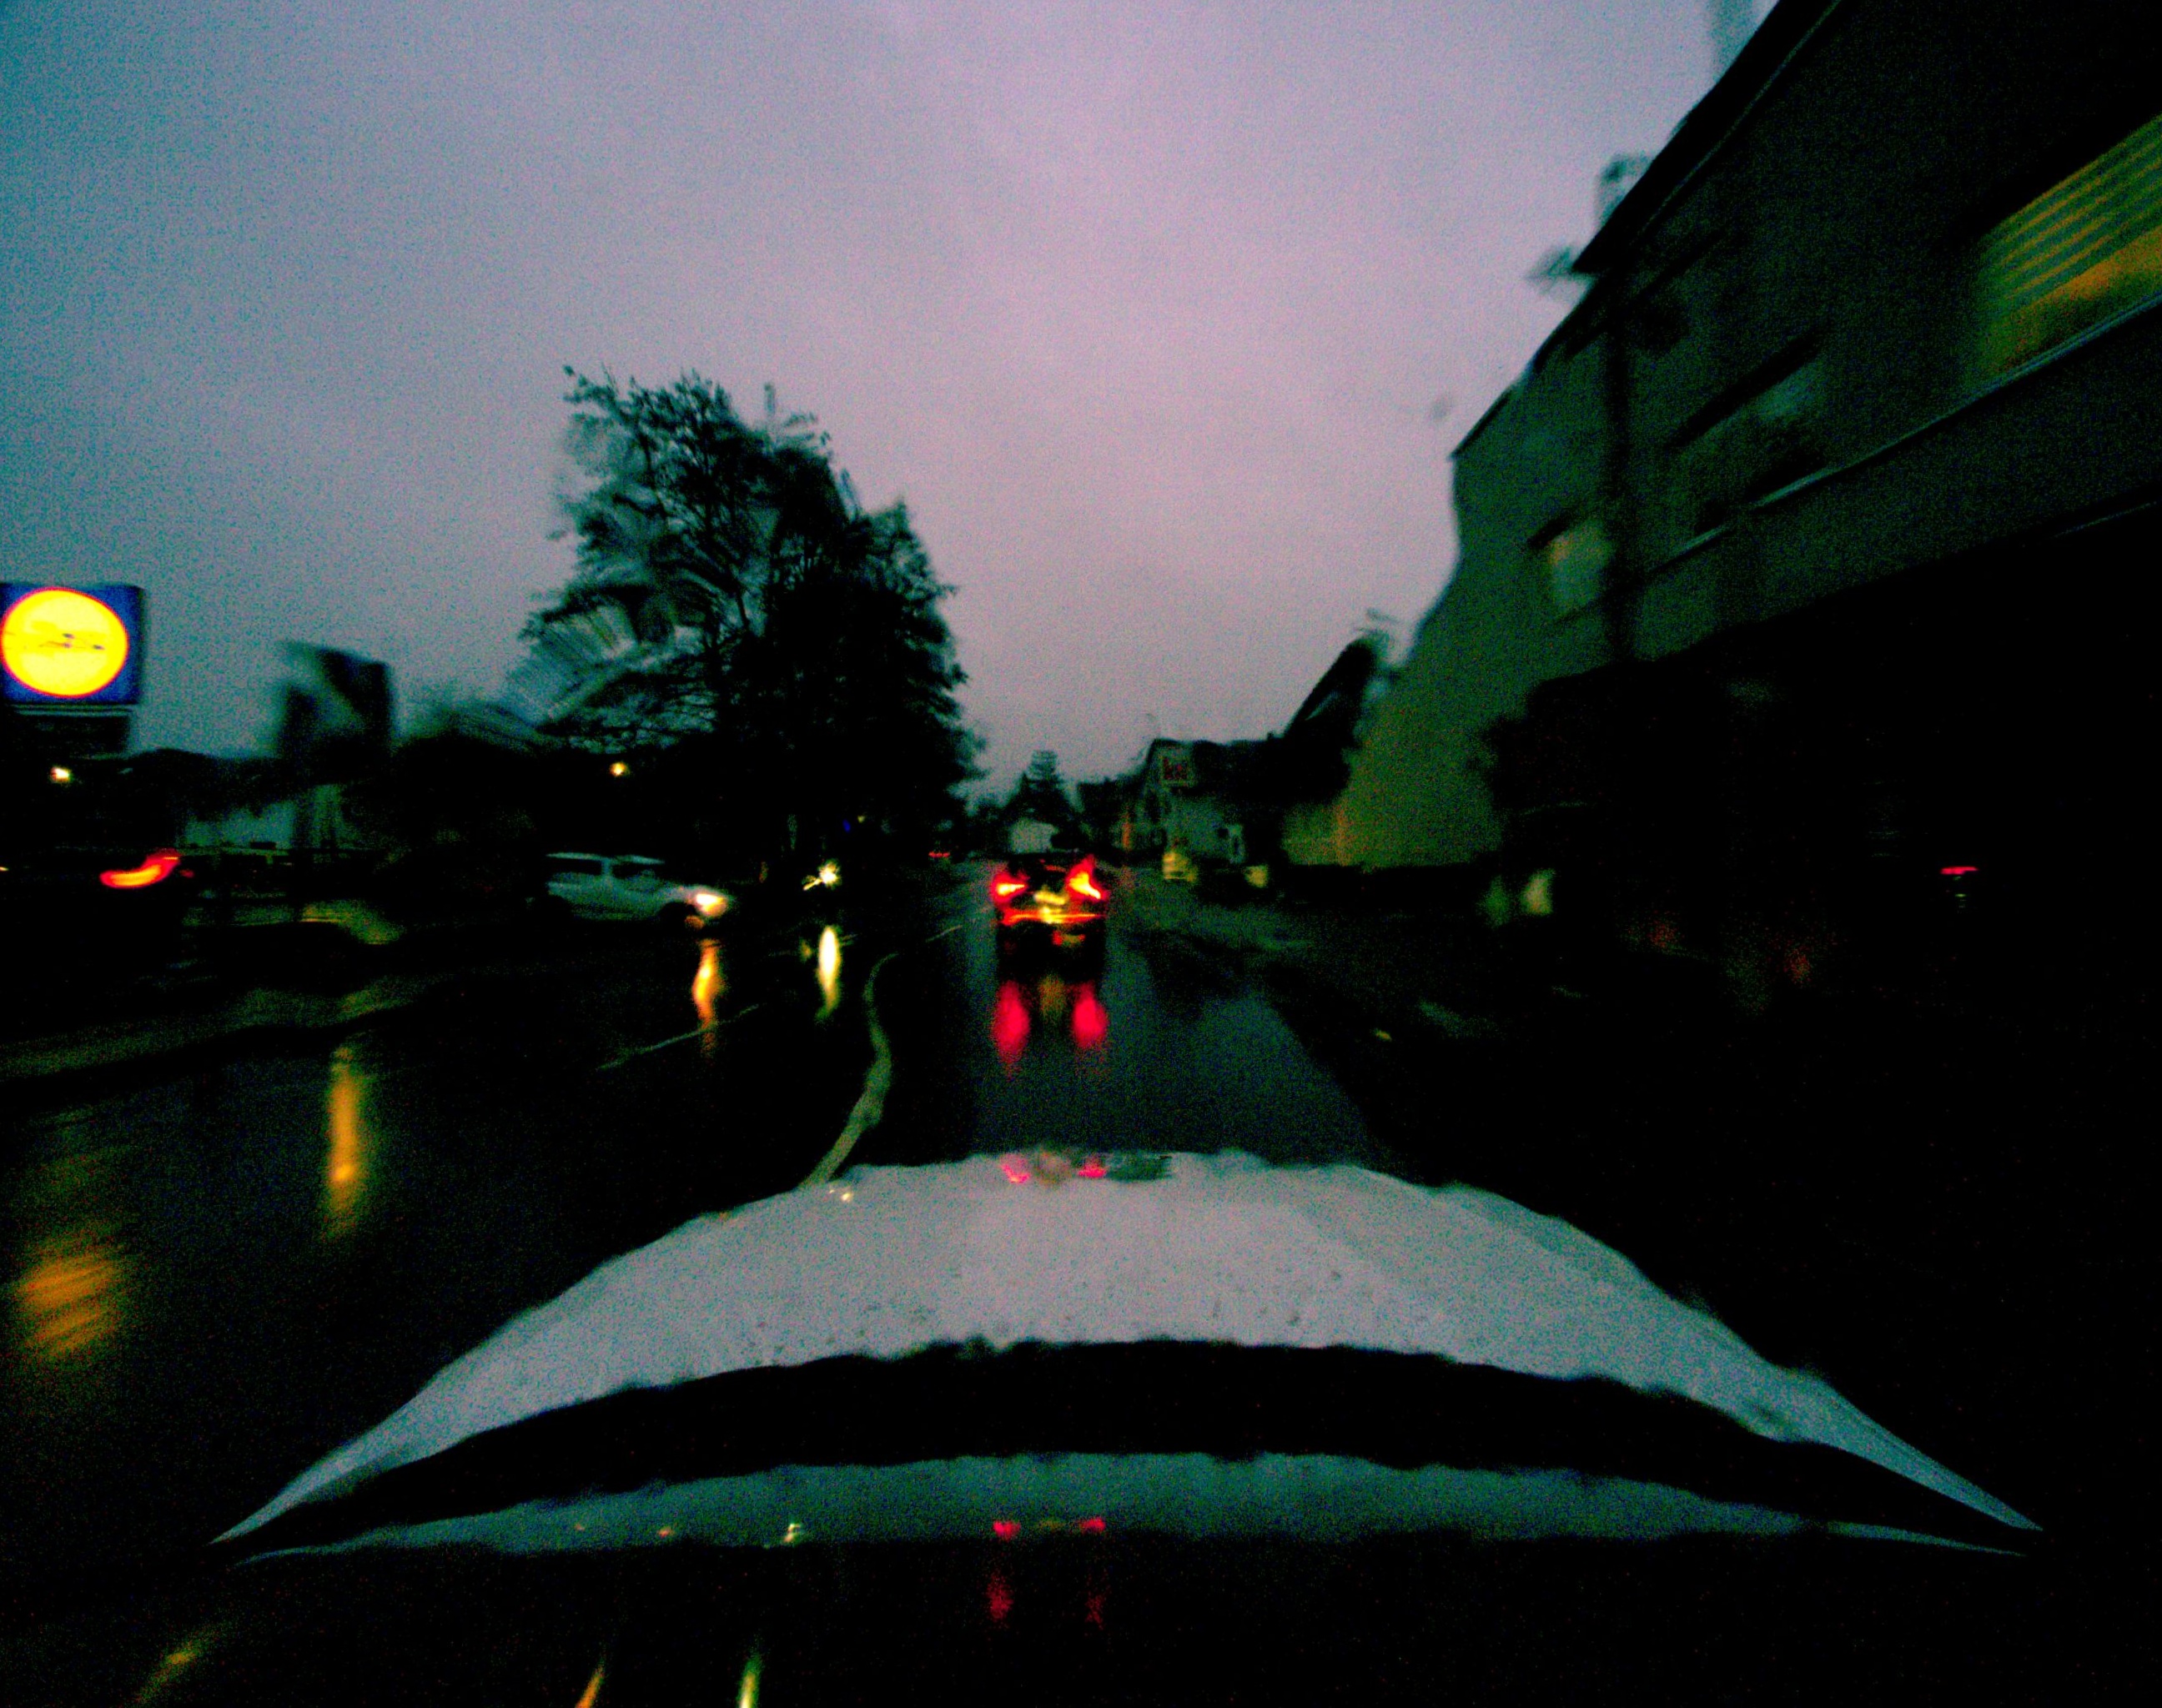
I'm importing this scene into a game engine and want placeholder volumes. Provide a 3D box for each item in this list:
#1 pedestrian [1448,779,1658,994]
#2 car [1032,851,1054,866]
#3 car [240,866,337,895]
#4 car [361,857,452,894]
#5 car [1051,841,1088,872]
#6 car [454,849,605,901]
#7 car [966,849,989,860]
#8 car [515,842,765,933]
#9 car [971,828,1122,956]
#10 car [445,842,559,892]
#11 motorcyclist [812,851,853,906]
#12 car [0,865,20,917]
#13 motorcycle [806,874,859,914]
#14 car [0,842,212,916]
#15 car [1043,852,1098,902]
[{"bbox_3d":[4.504,0.293,7.930,1.249,1.866,1.304,-3,0,3],"label":"pedestrian"},{"bbox_3d":[-3.608,0.416,76.151,1.840,1.331,3.929,-2,0,-6],"label":"car"},{"bbox_3d":[-38.835,1.272,39.994,1.557,1.130,3.388,2,1,-4],"label":"car"},{"bbox_3d":[-34.222,1.070,41.456,1.691,1.639,3.705,2,1,-4],"label":"car"},{"bbox_3d":[-0.746,0.172,54.200,2.303,1.938,5.015,-1,0,-1],"label":"car"},{"bbox_3d":[-22.609,0.863,33.598,4.648,1.976,2.120,1,1,-12],"label":"car"},{"bbox_3d":[-20.599,0.020,161.887,4.252,2.013,1.802,-2,0,-14],"label":"car"},{"bbox_3d":[-9.253,0.680,17.377,4.214,1.699,1.899,2,0,-2],"label":"car"},{"bbox_3d":[-0.635,0.604,15.246,2.304,1.938,5.013,-1,0,-3],"label":"car"},{"bbox_3d":[-29.378,0.592,41.582,2.276,2.278,5.262,1,2,-4],"label":"car"},{"bbox_3d":[-6.849,0.654,22.503,0.863,1.485,0.908,0,0,-2],"label":"motorcyclist"},{"bbox_3d":[-34.461,1.206,23.813,1.912,1.616,3.988,1,2,-9],"label":"car"},{"bbox_3d":[-6.855,1.085,22.593,0.863,1.024,2.108,0,0,-1],"label":"motorcycle"},{"bbox_3d":[-25.070,0.590,20.250,4.405,1.671,1.963,-1,1,-9],"label":"car"},{"bbox_3d":[-0.398,0.769,29.323,1.852,1.647,3.998,0,1,-1],"label":"car"}]
